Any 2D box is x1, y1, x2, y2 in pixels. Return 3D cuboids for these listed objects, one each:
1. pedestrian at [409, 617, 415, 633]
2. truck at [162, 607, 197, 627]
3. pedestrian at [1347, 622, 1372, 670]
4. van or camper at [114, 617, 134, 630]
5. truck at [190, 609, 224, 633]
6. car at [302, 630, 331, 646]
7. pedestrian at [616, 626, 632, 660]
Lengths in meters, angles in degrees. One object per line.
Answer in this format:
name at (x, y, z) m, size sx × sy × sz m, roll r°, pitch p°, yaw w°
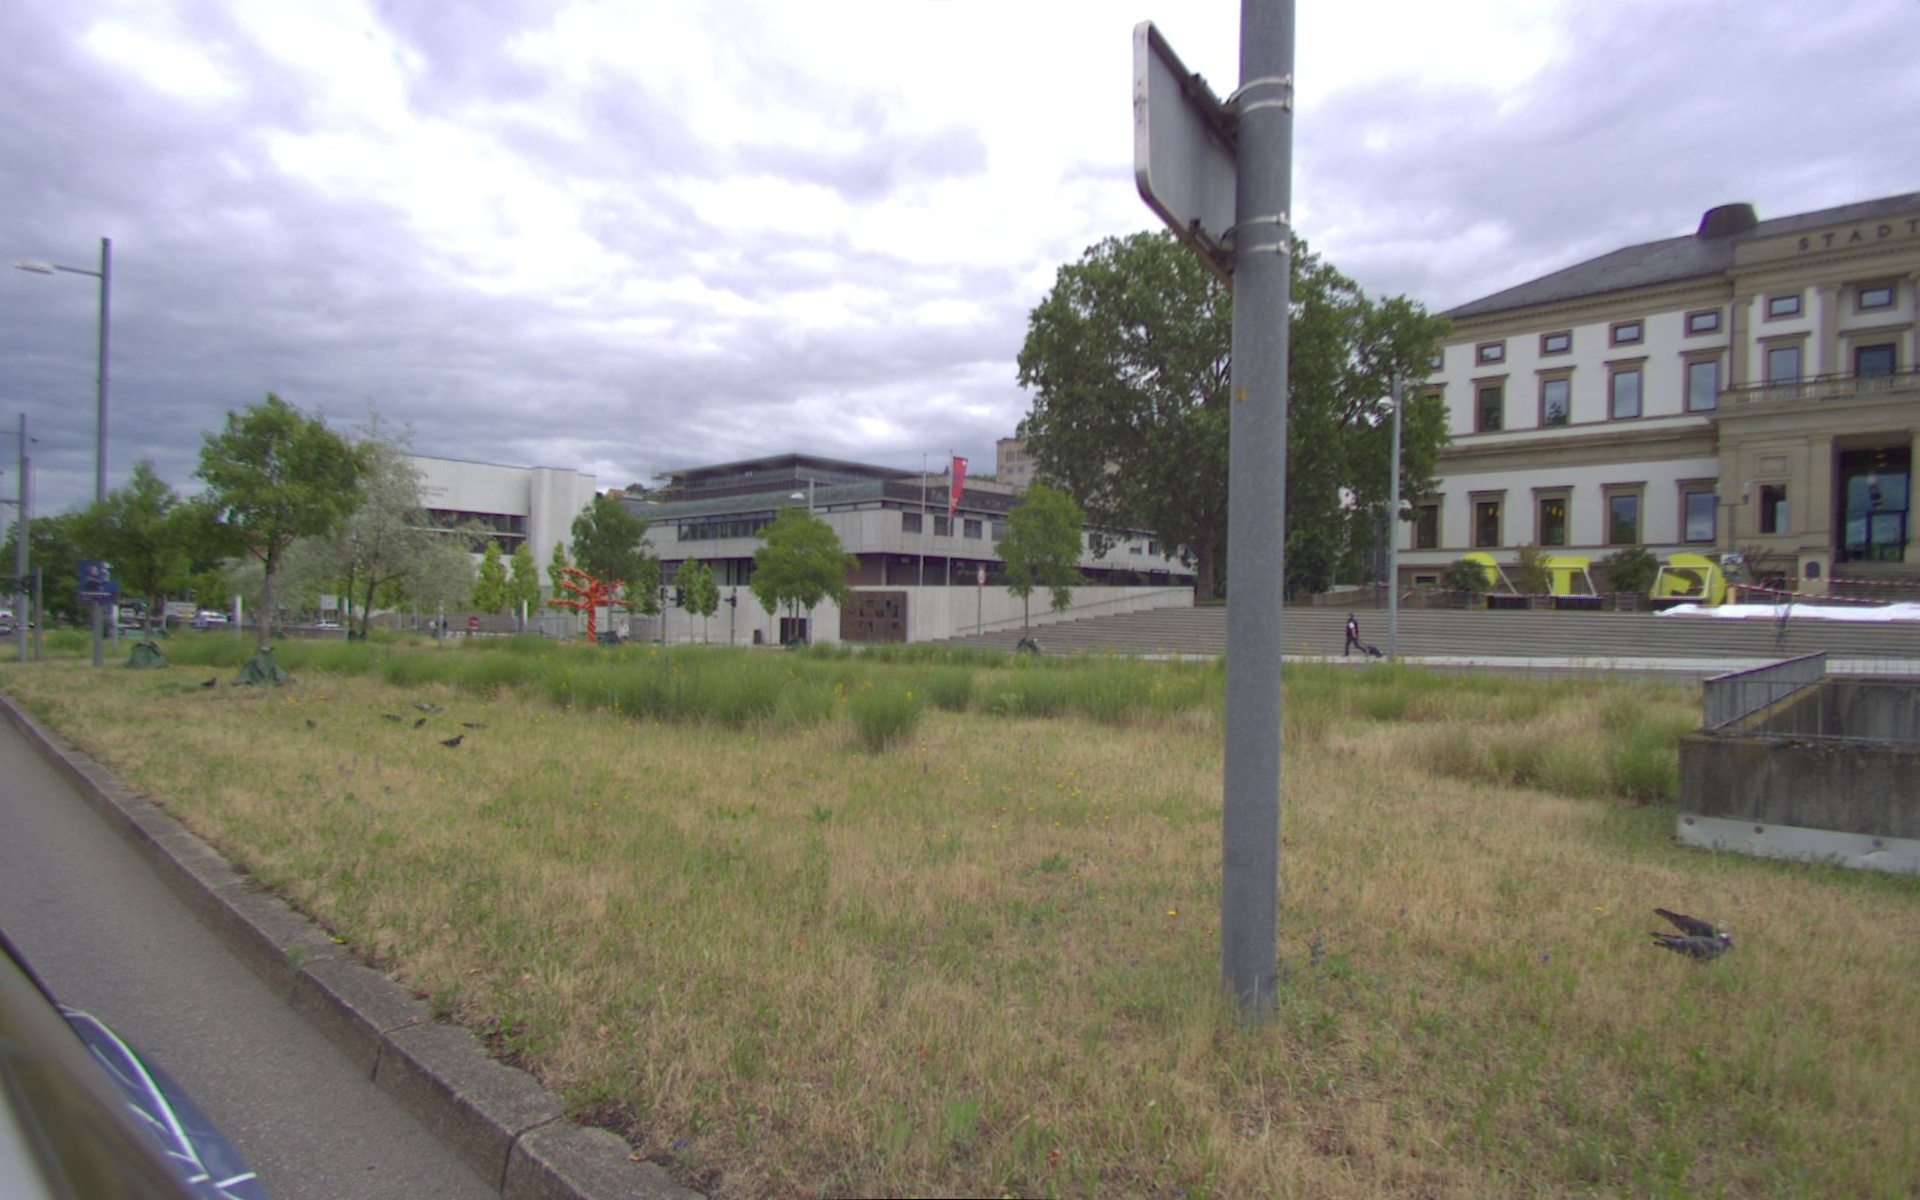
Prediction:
pedestrian at (-53.363, 2.472, 98.537) m, size 0.461 × 1.533 × 0.423 m, roll -1°, pitch -1°, yaw 37°
truck at (-117.117, 2.554, 151.837) m, size 7.256 × 2.809 × 3.194 m, roll -3°, pitch -2°, yaw 45°
pedestrian at (13.993, 1.596, 35.469) m, size 0.650 × 1.661 × 0.518 m, roll -1°, pitch -1°, yaw 43°
van or camper at (-134.173, 3.733, 162.346) m, size 4.558 × 2.029 × 1.971 m, roll -3°, pitch -2°, yaw 44°
truck at (-94.998, 2.686, 127.611) m, size 2.435 × 2.838 × 7.082 m, roll 0°, pitch -2°, yaw -45°
car at (-67.325, 3.965, 105.871) m, size 1.699 × 1.586 × 4.615 m, roll 0°, pitch -2°, yaw -45°
pedestrian at (-17.566, 2.251, 52.835) m, size 0.663 × 1.747 × 0.534 m, roll -2°, pitch -2°, yaw 44°
